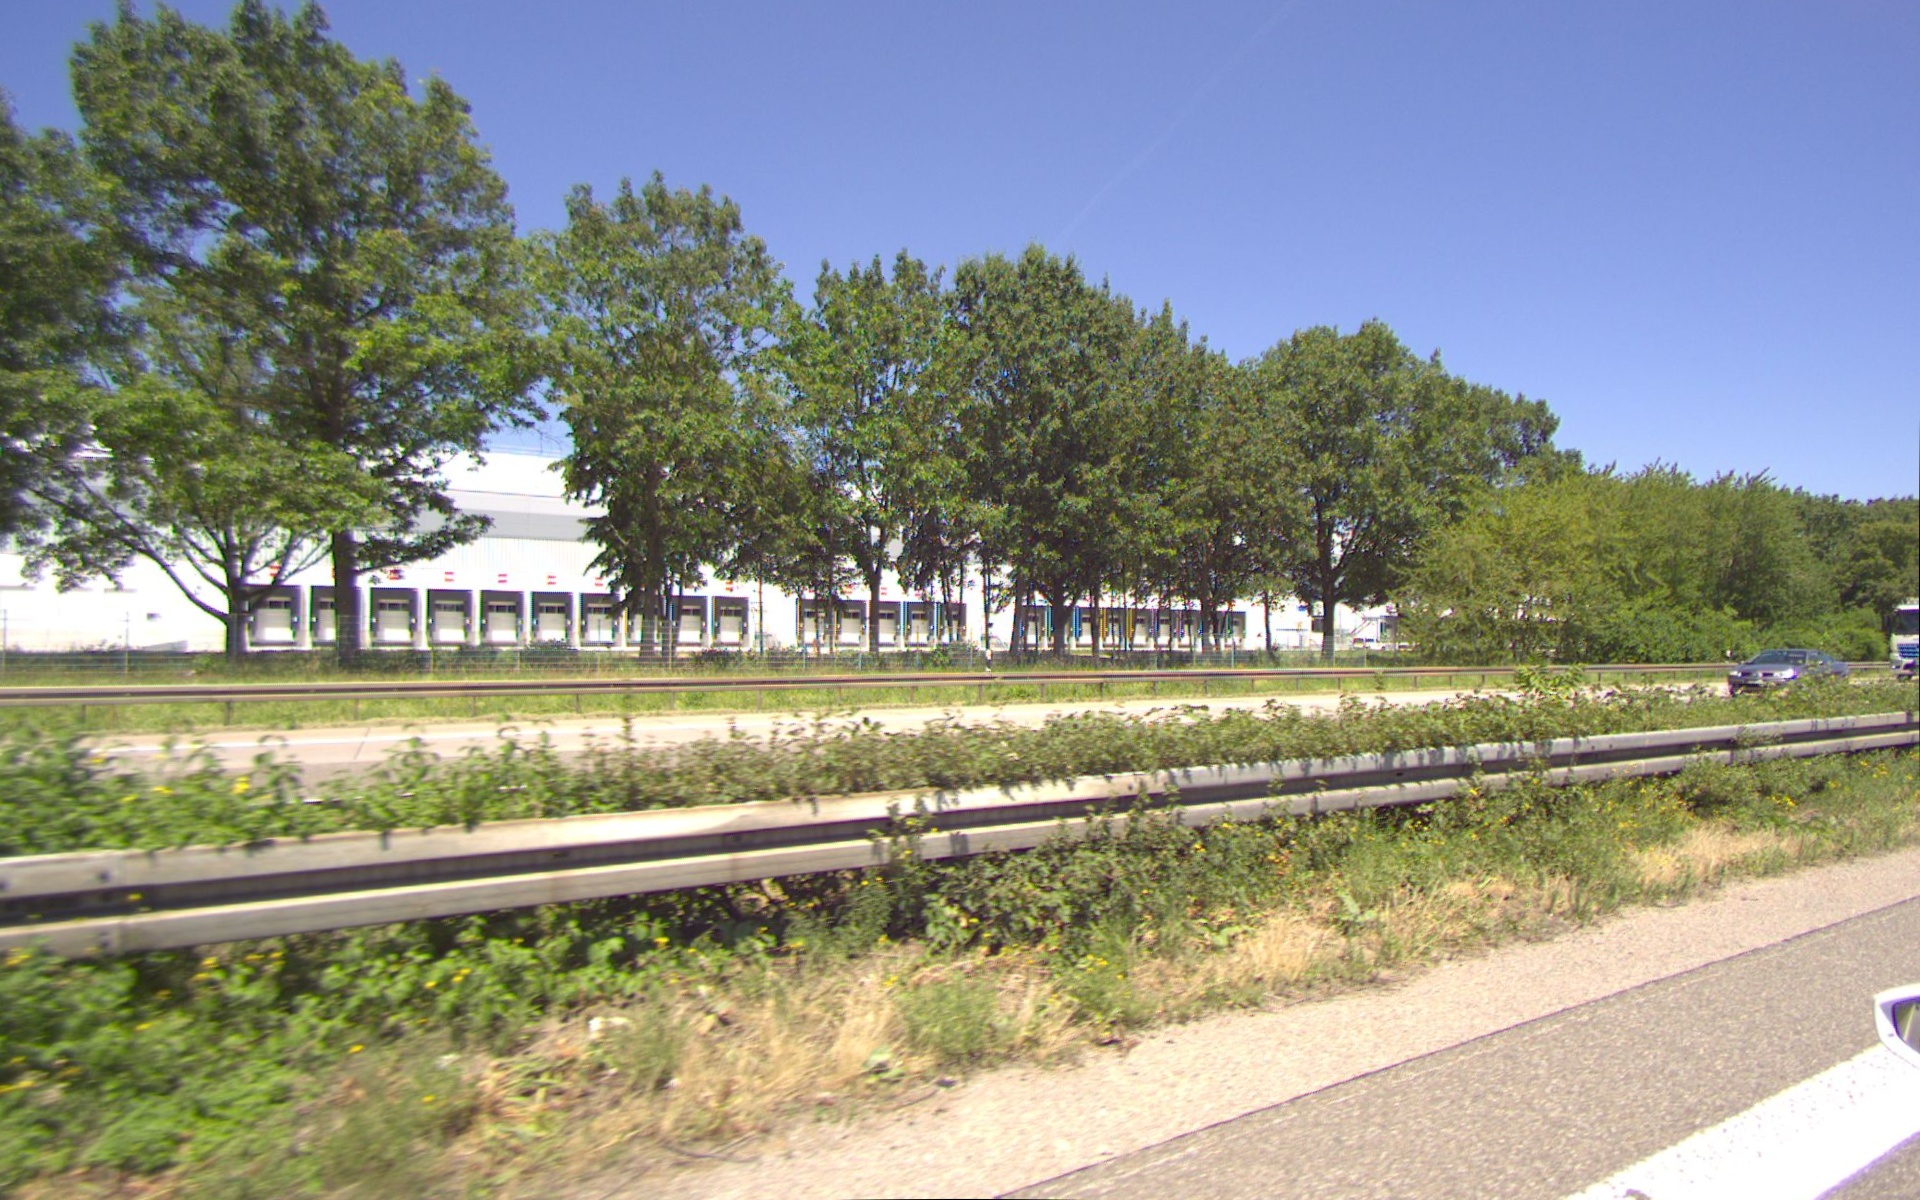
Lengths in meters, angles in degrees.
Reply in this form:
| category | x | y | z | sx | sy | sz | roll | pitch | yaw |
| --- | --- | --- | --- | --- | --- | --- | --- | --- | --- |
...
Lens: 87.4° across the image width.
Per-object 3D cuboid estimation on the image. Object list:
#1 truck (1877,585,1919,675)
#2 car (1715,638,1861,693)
| category | x | y | z | sx | sy | sz | roll | pitch | yaw |
| --- | --- | --- | --- | --- | --- | --- | --- | --- | --- |
| truck | 45.016 | 1.340 | 45.263 | 9.749 | 3.811 | 2.594 | 1 | -2 | -30 |
| car | 23.725 | 1.820 | 28.754 | 4.546 | 1.458 | 1.848 | 1 | -3 | -32 |
